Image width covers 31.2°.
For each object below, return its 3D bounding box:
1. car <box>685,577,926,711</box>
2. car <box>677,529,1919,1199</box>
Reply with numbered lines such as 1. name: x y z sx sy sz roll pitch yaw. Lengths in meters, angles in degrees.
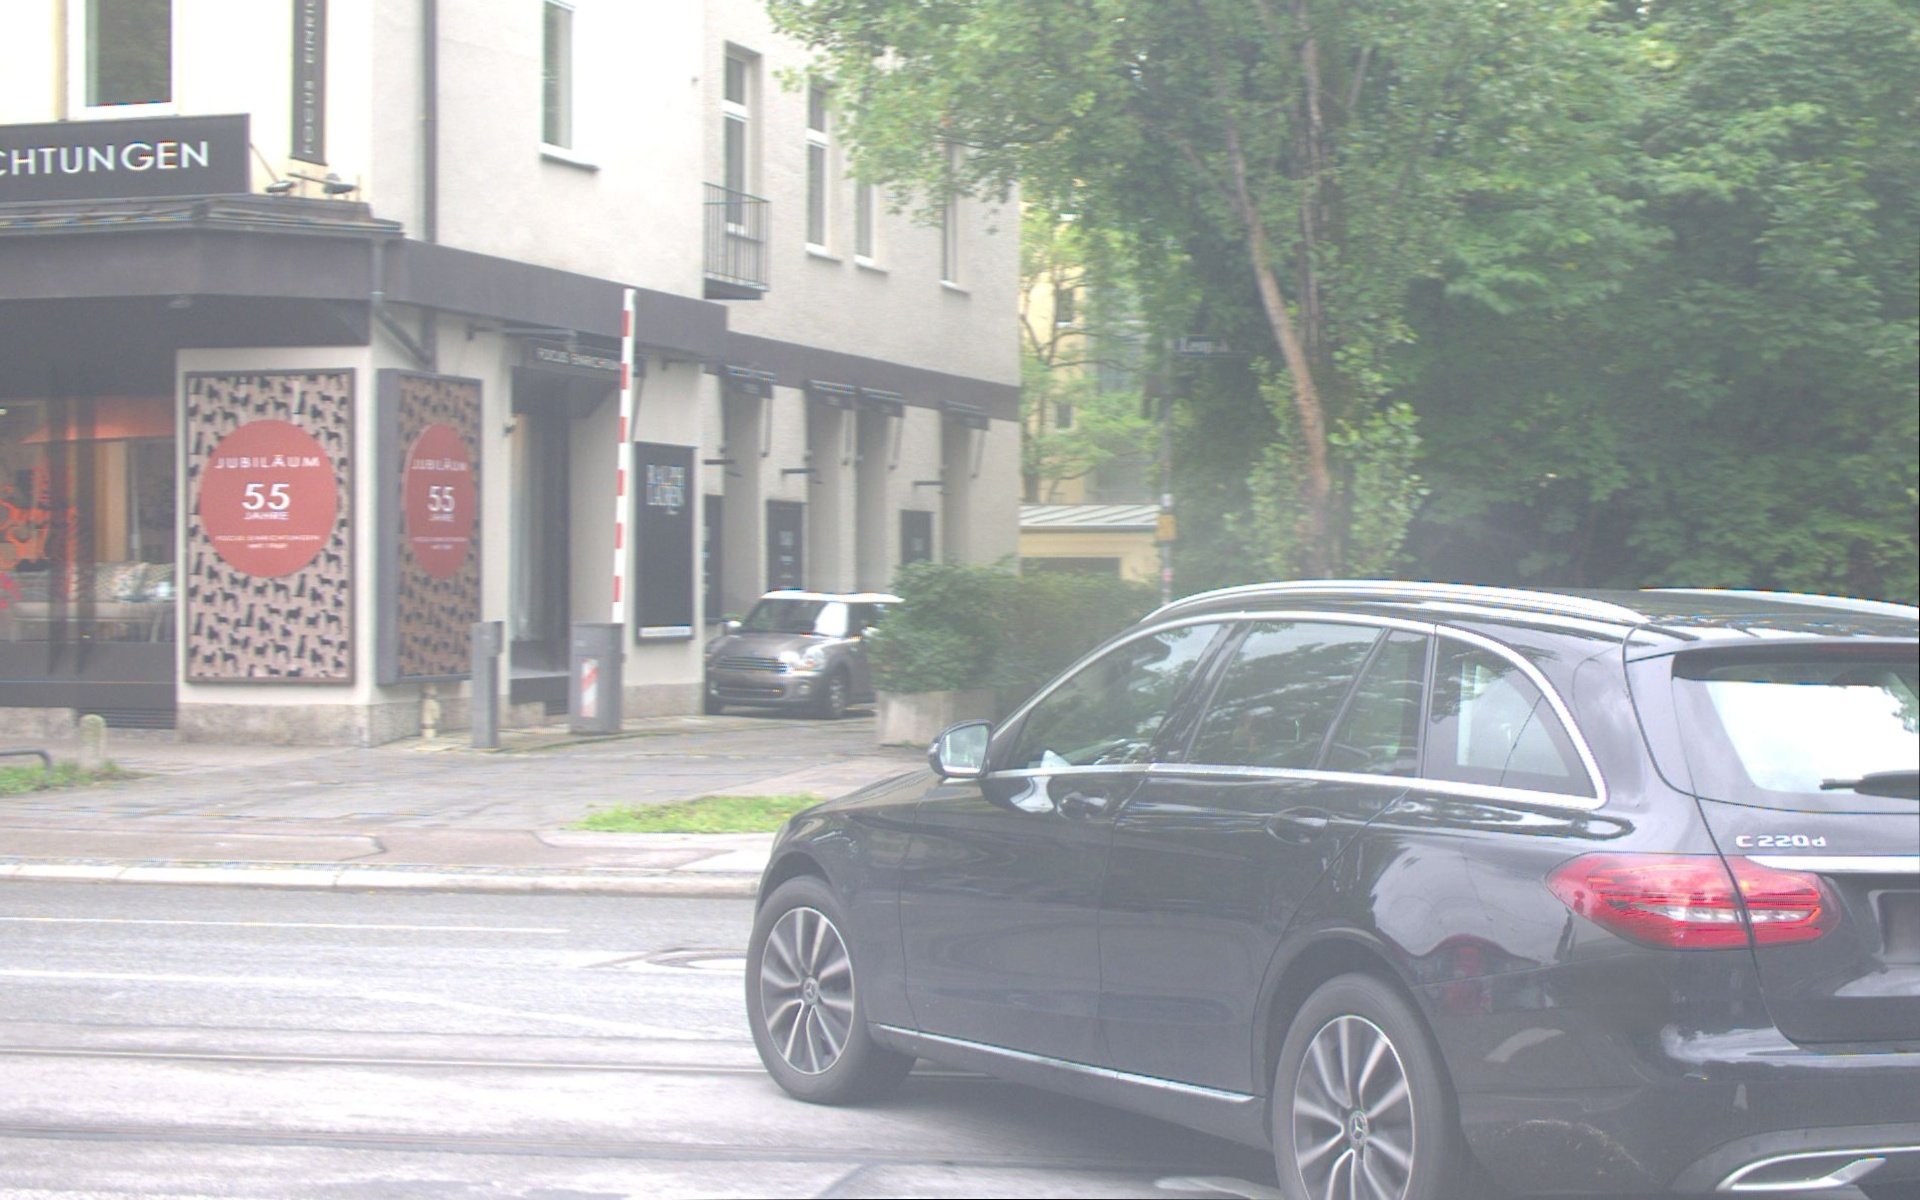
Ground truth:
1. car: -1.717 0.465 39.567 1.726 1.437 3.998 0 1 14
2. car: 1.024 0.608 8.602 1.863 1.544 4.704 0 1 -26
